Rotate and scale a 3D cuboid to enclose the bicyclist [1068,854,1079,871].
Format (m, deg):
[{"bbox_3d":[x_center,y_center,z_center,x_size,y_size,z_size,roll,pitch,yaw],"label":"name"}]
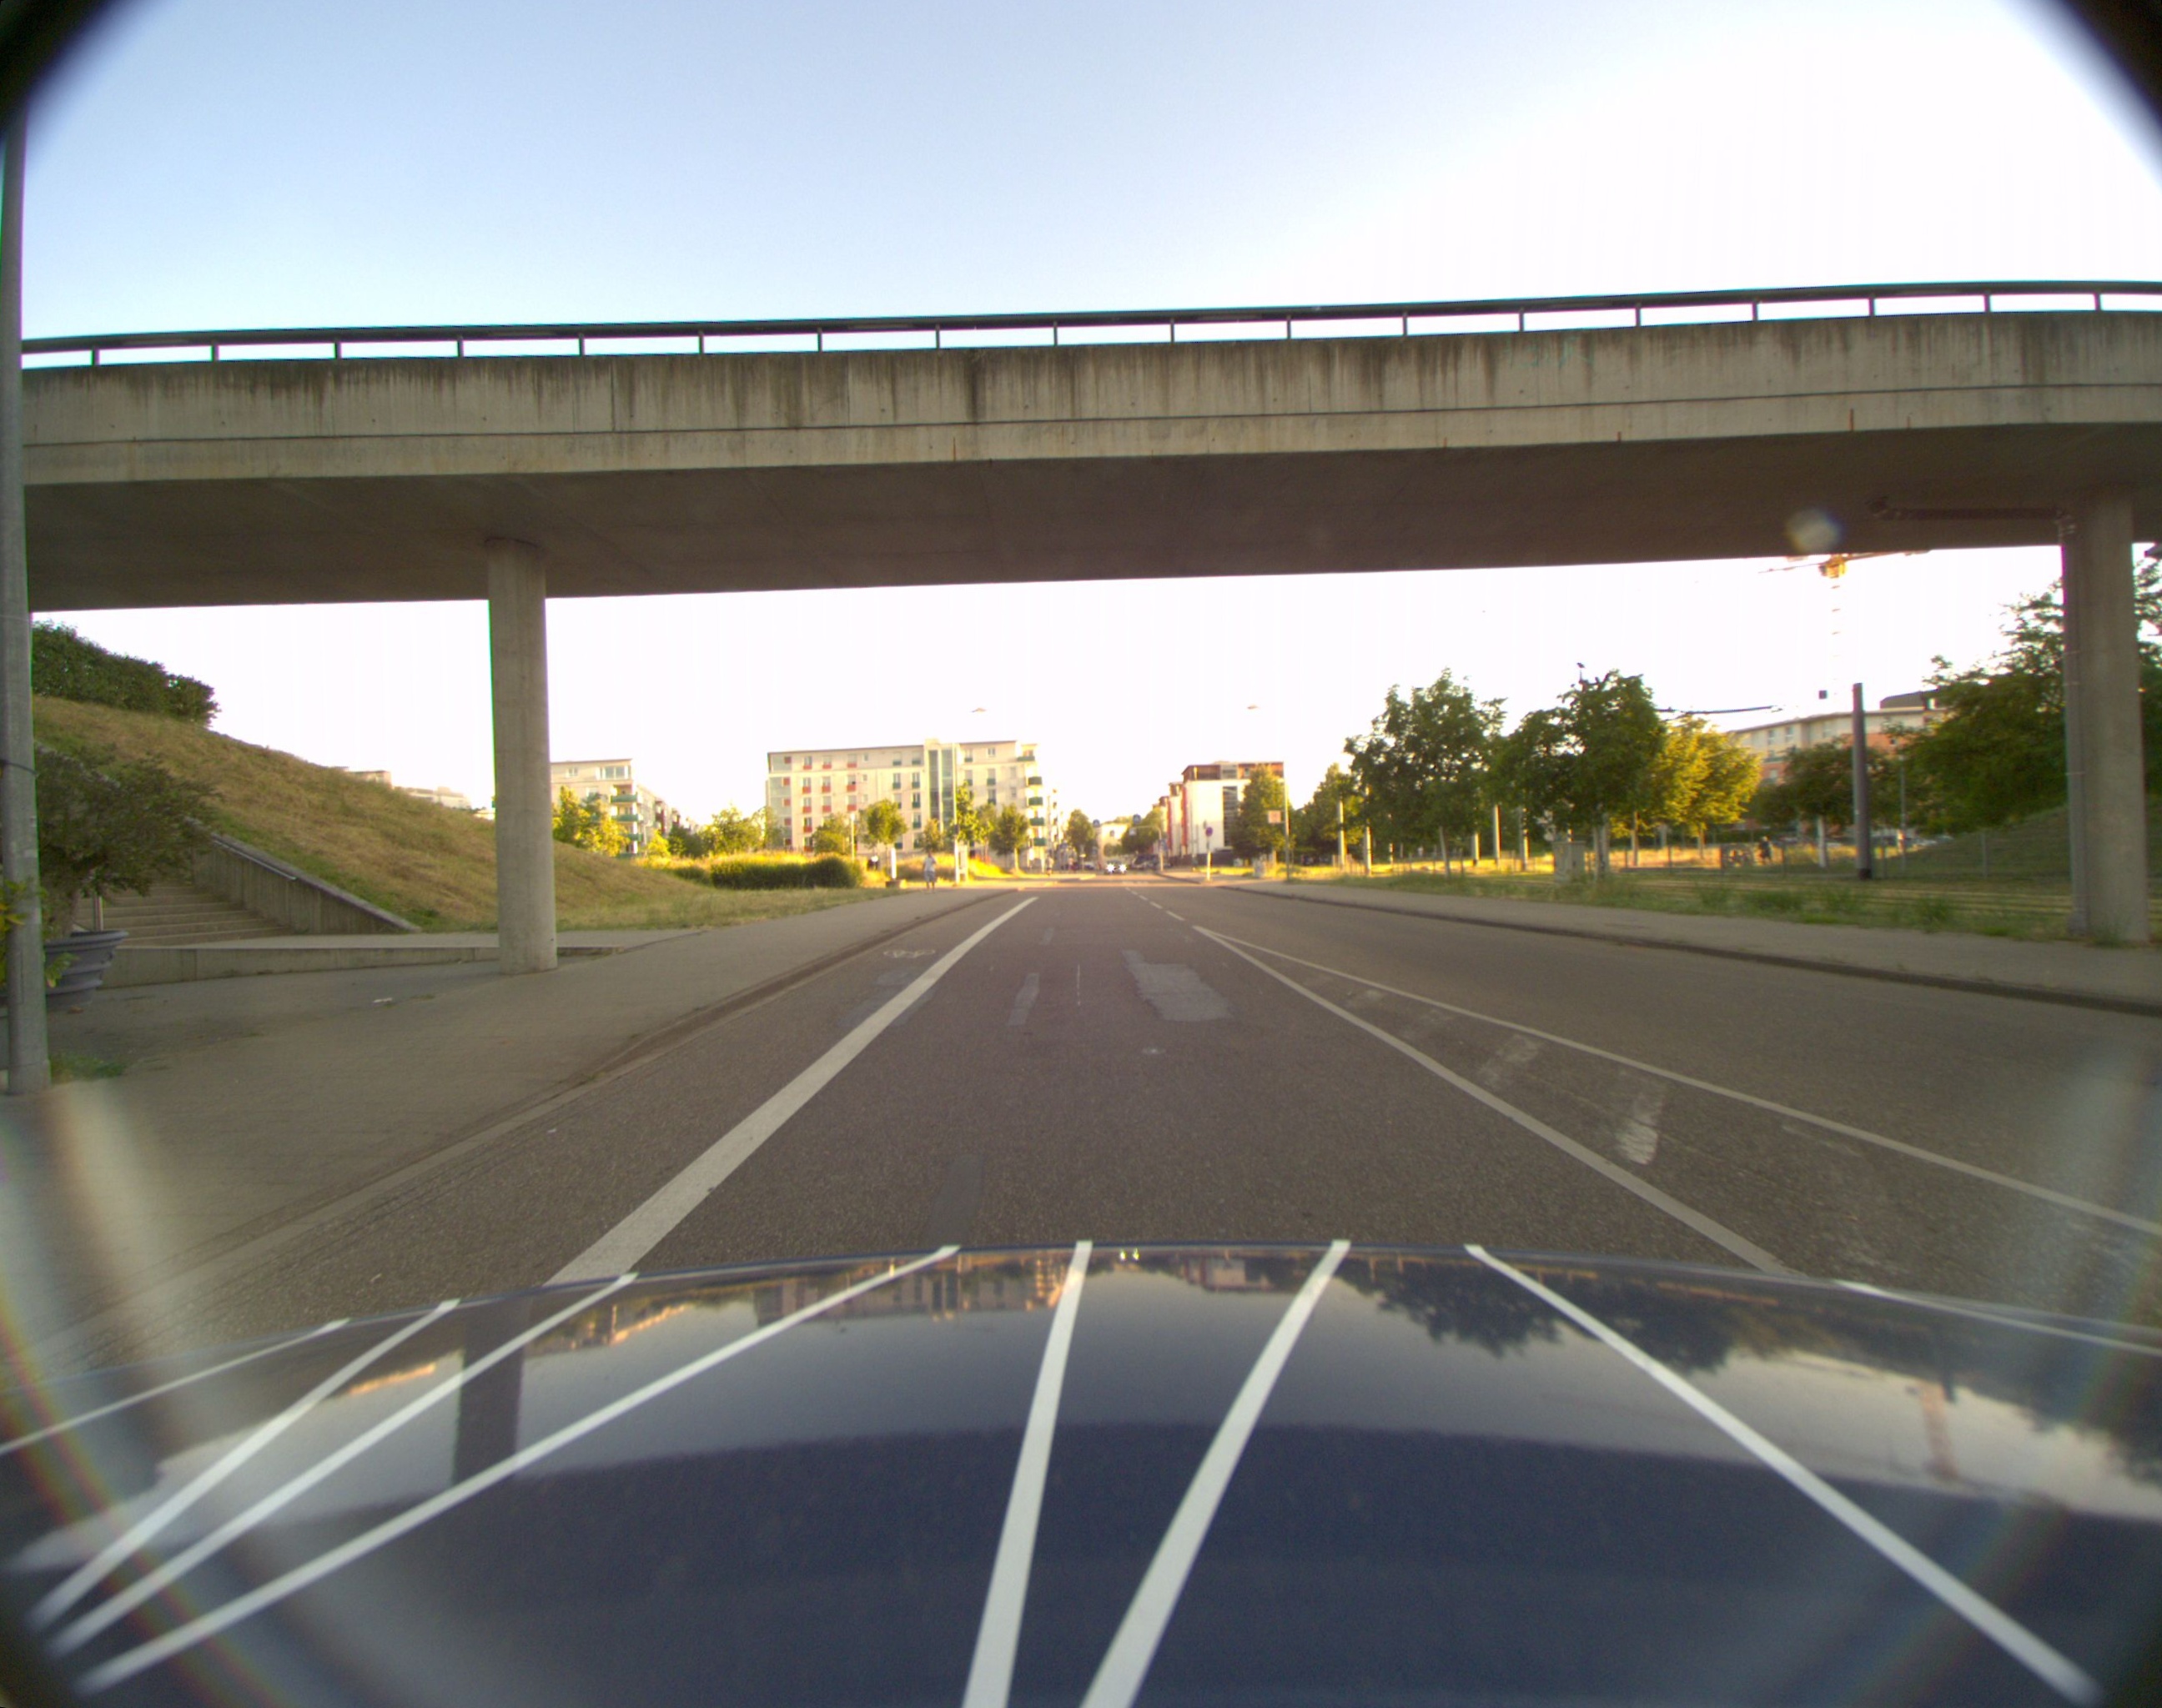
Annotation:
[{"bbox_3d":[-0.709,0.781,72.140,0.932,1.585,1.068,-2,0,-1],"label":"bicyclist"}]

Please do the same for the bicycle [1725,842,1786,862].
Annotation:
[{"bbox_3d":[37.017,-0.109,41.721,2.842,1.002,0.655,-2,0,-3],"label":"bicycle"}]

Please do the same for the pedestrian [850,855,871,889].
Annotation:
[{"bbox_3d":[-10.851,0.878,37.433,0.737,1.620,0.859,0,0,2],"label":"pedestrian"}]

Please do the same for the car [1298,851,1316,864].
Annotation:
[{"bbox_3d":[28.938,0.458,97.311,1.942,1.521,4.004,-2,0,14],"label":"car"}]

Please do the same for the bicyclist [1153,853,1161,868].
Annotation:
[{"bbox_3d":[8.437,0.682,84.201,0.858,1.653,0.920,-2,0,3],"label":"bicyclist"}]

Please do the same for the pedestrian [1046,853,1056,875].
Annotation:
[{"bbox_3d":[-2.291,0.753,58.697,0.737,1.714,0.532,0,0,1],"label":"pedestrian"}]

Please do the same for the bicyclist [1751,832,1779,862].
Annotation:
[{"bbox_3d":[37.609,-0.399,41.783,0.909,1.622,0.717,-2,0,-3],"label":"bicyclist"}]

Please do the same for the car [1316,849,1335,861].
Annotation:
[{"bbox_3d":[31.122,0.122,96.789,1.942,1.521,4.004,-2,0,14],"label":"car"}]

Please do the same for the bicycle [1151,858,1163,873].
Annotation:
[{"bbox_3d":[8.398,1.262,84.040,1.017,1.560,3.543,-2,0,3],"label":"bicycle"}]

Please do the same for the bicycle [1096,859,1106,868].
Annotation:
[{"bbox_3d":[2.741,1.361,105.425,0.661,1.217,2.443,-2,0,19],"label":"bicycle"}]

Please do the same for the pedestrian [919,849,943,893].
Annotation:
[{"bbox_3d":[-5.926,0.670,30.063,0.737,1.714,0.906,0,0,1],"label":"pedestrian"}]

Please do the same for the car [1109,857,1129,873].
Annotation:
[{"bbox_3d":[3.585,1.013,72.865,1.739,1.455,4.000,-2,0,1],"label":"car"}]

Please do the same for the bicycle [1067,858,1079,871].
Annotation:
[{"bbox_3d":[-0.762,0.997,73.002,0.900,1.142,3.497,-2,0,-4],"label":"bicycle"}]

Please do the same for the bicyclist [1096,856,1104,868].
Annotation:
[{"bbox_3d":[2.651,1.109,105.406,0.696,1.630,0.853,-2,0,29],"label":"bicyclist"}]

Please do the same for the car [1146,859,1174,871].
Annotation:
[{"bbox_3d":[11.863,1.617,113.806,3.996,1.718,2.000,-2,0,2],"label":"car"}]
